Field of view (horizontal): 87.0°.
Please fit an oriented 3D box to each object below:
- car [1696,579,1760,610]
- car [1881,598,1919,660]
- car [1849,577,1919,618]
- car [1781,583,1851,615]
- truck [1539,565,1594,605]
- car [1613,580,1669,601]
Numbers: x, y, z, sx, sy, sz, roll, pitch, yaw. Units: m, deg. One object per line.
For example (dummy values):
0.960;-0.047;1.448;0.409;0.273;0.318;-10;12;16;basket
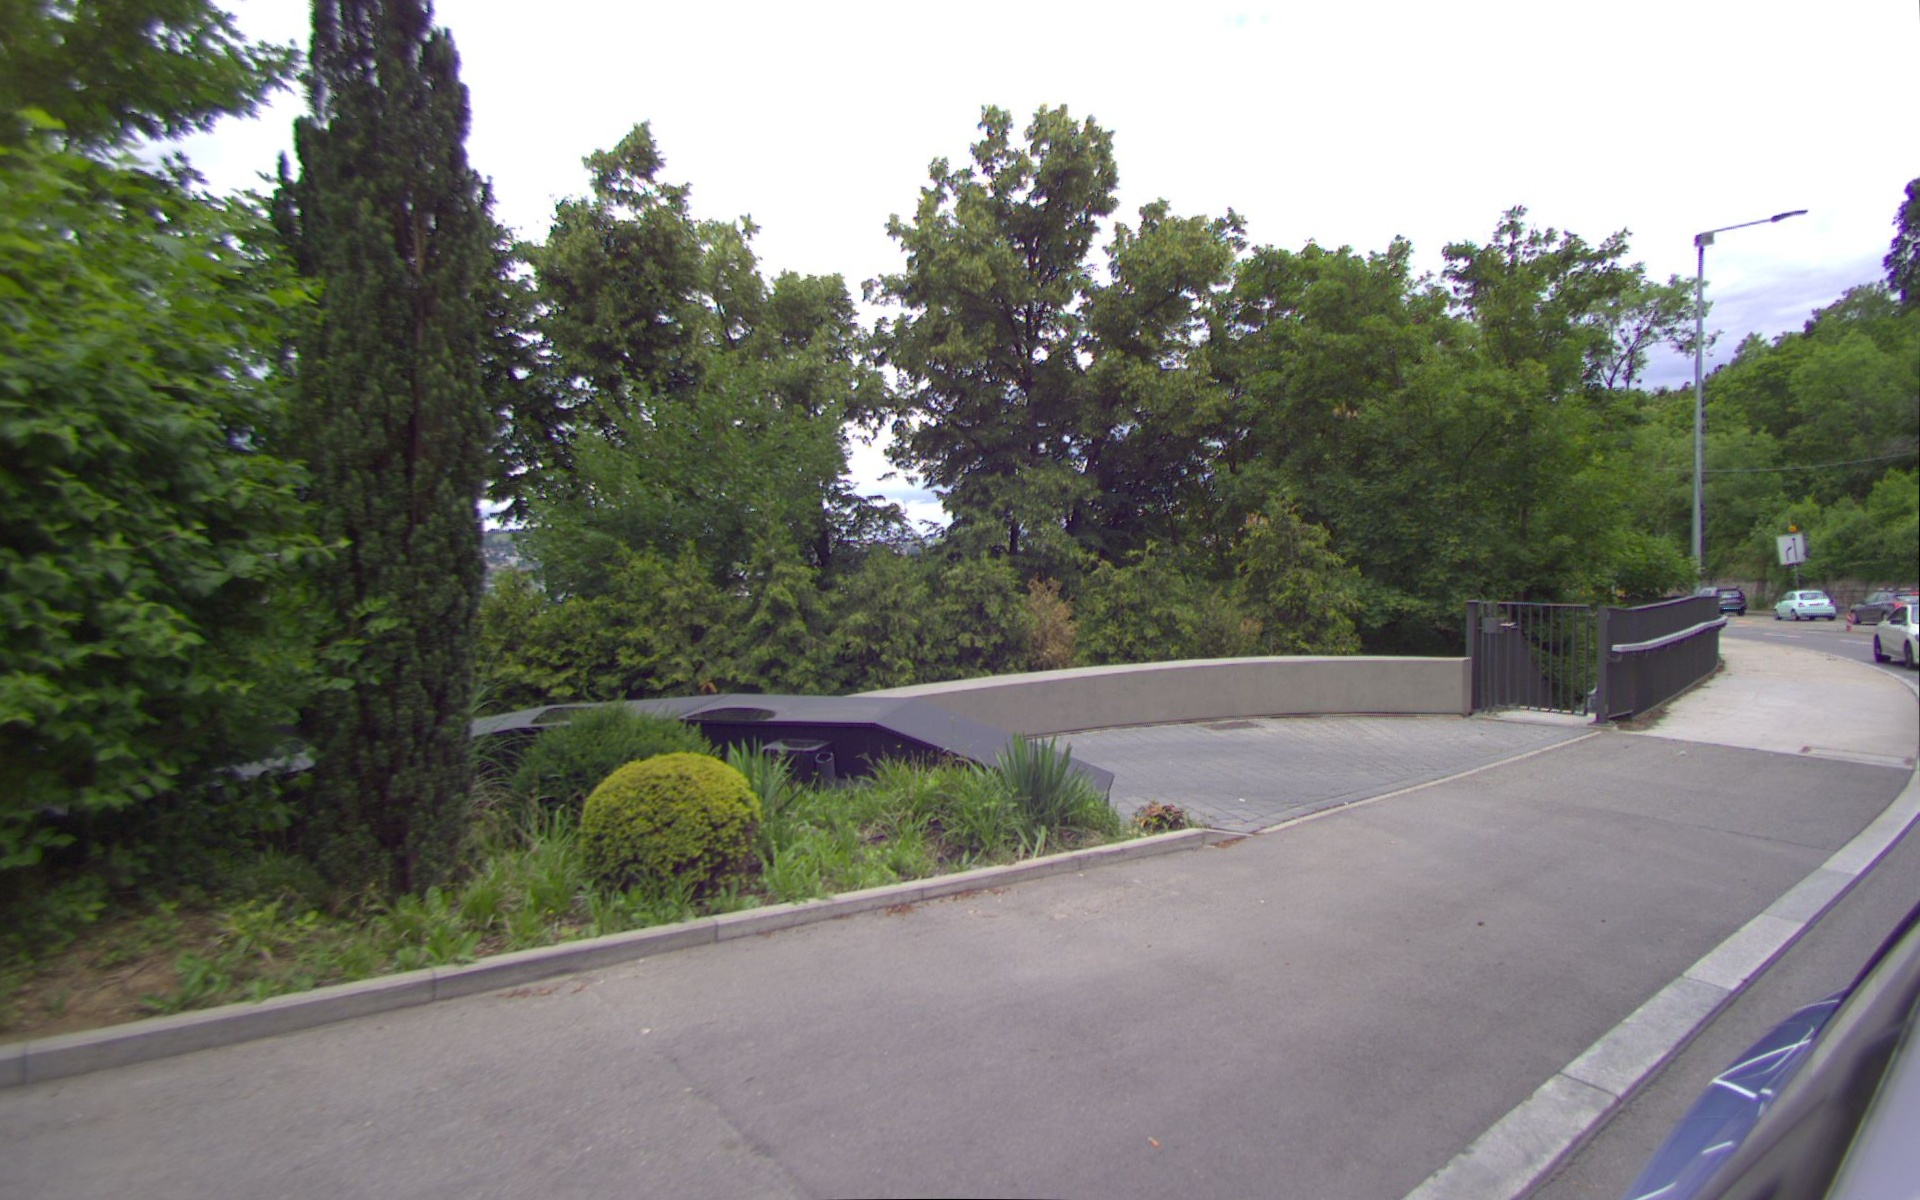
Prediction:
45.602;-0.339;60.197;1.868;1.718;4.635;-2;0;23;car
21.945;0.613;22.238;1.785;1.323;4.054;-1;0;32;car
39.963;-0.123;42.931;1.692;1.618;4.187;-2;1;16;car
42.178;-0.074;49.954;1.699;1.485;3.628;-2;0;26;car
56.173;-1.387;93.910;2.703;3.554;7.309;-1;1;18;truck
49.535;-0.709;73.739;1.789;1.448;4.853;-2;0;14;car
